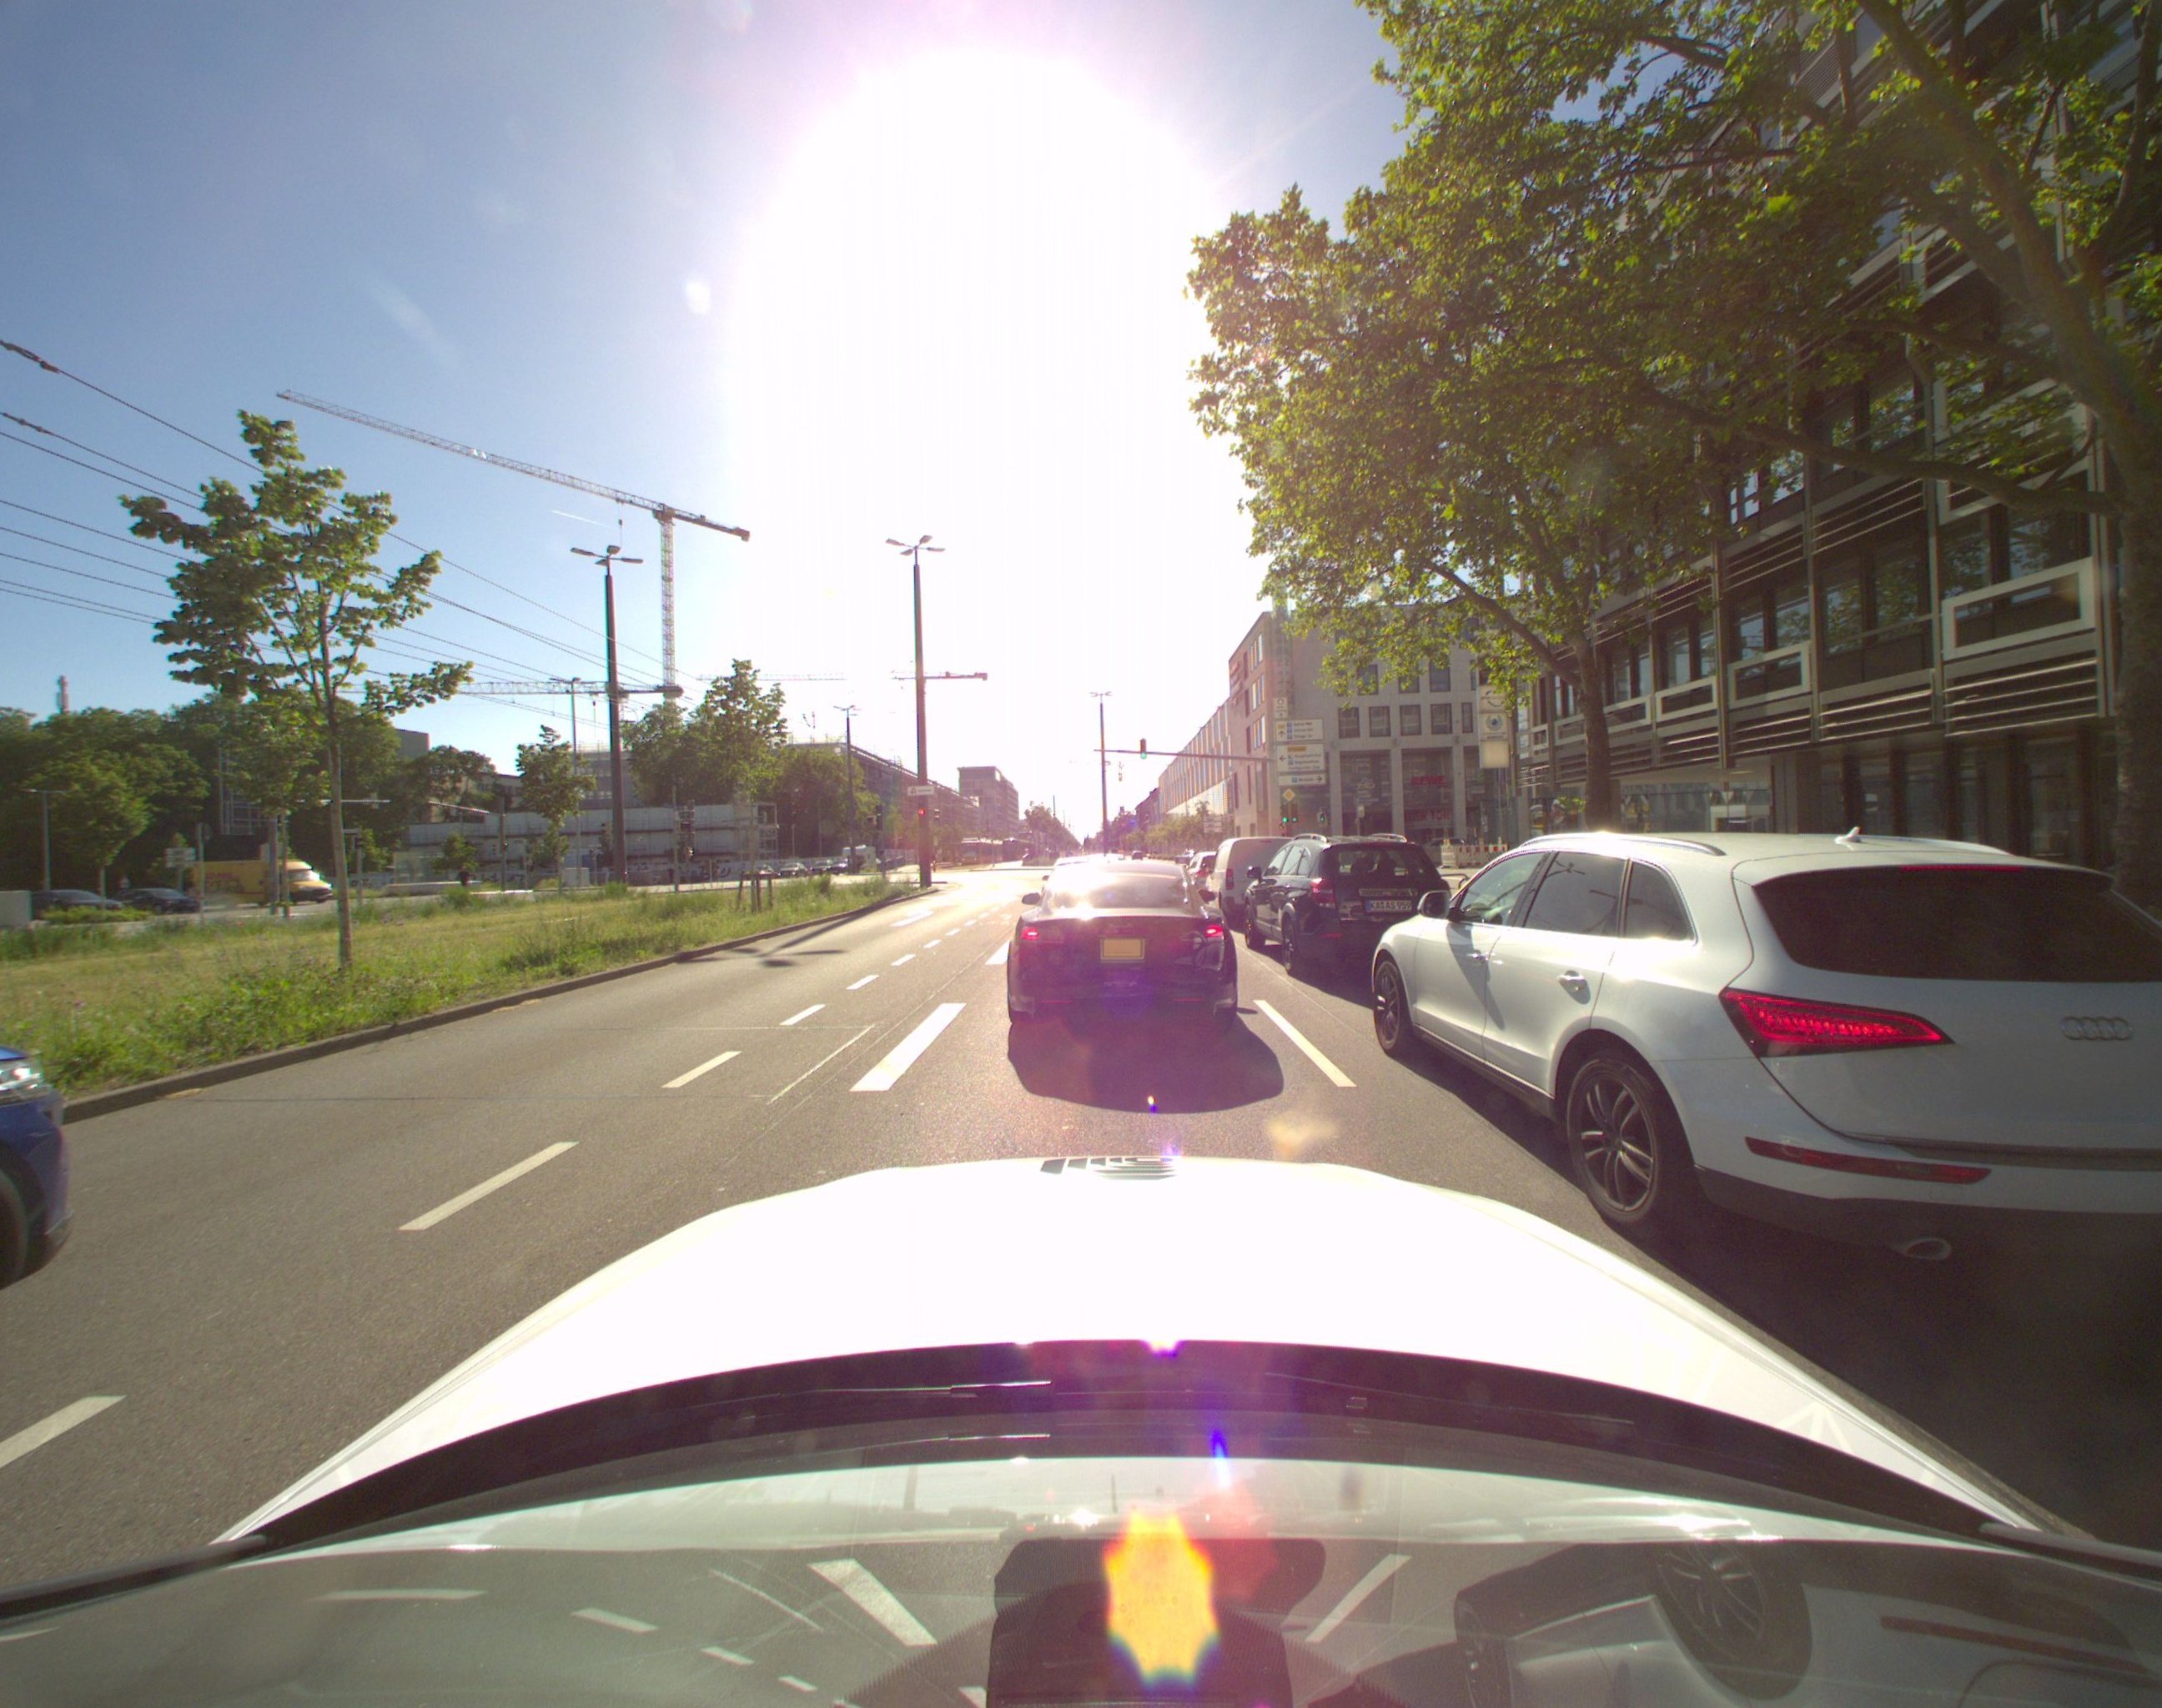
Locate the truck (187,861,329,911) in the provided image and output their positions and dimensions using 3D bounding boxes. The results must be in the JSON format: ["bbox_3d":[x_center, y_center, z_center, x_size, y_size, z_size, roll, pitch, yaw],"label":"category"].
[{"bbox_3d":[-49.731,1.900,49.289,6.930,2.963,2.003,0,-1,5],"label":"truck"}]

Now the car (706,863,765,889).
[{"bbox_3d":[-16.148,1.005,38.207,1.371,1.178,3.220,0,-1,1],"label":"car"}]

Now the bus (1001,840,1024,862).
[{"bbox_3d":[-9.742,-0.388,116.048,2.620,2.959,9.893,0,-1,-1],"label":"bus"}]

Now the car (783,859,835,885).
[{"bbox_3d":[-13.043,0.843,39.194,1.371,1.178,3.220,0,-1,1],"label":"car"}]

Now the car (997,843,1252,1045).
[{"bbox_3d":[0.360,0.671,8.227,1.905,1.486,4.010,-2,0,1],"label":"car"}]

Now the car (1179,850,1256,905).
[{"bbox_3d":[3.960,0.618,24.230,1.715,1.431,4.188,-2,0,2],"label":"car"}]

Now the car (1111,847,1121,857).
[{"bbox_3d":[7.105,-0.475,166.448,1.986,2.014,4.001,0,-1,2],"label":"car"}]

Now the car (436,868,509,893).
[{"bbox_3d":[-40.112,1.716,53.766,1.704,1.556,4.001,0,-1,2],"label":"car"}]

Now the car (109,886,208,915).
[{"bbox_3d":[-51.736,2.619,45.704,3.967,1.439,1.603,-2,0,5],"label":"car"}]

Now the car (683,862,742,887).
[{"bbox_3d":[-17.816,0.982,39.500,1.371,1.178,3.220,0,-1,1],"label":"car"}]

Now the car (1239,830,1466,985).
[{"bbox_3d":[3.379,0.569,11.022,1.715,1.653,4.187,-2,0,1],"label":"car"}]

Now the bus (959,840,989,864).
[{"bbox_3d":[-12.984,-0.174,99.263,2.620,2.783,8.839,0,-1,-1],"label":"bus"}]

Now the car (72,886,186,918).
[{"bbox_3d":[-46.922,2.342,40.187,3.504,1.346,1.642,-2,0,-3],"label":"car"}]

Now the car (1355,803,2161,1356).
[{"bbox_3d":[2.994,0.648,4.496,1.714,1.618,4.190,-2,0,3],"label":"car"}]

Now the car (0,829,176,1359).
[{"bbox_3d":[-4.190,0.756,0.885,1.739,1.622,4.152,-1,0,0],"label":"car"}]

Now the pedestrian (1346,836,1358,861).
[{"bbox_3d":[15.939,-0.313,47.878,0.559,1.440,0.633,0,-1,8],"label":"pedestrian"}]

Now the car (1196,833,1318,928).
[{"bbox_3d":[3.686,0.489,17.760,1.716,1.782,4.186,-2,0,0],"label":"car"}]

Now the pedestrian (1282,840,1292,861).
[{"bbox_3d":[14.213,-0.248,56.157,0.559,1.440,0.633,0,-1,8],"label":"pedestrian"}]

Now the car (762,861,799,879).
[{"bbox_3d":[-27.570,1.450,74.798,1.831,1.612,3.896,0,-1,1],"label":"car"}]

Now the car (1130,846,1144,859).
[{"bbox_3d":[8.820,-0.227,129.012,1.986,2.014,4.001,0,-1,2],"label":"car"}]

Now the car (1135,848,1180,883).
[{"bbox_3d":[3.404,0.469,36.845,1.715,1.431,4.188,-2,0,2],"label":"car"}]
